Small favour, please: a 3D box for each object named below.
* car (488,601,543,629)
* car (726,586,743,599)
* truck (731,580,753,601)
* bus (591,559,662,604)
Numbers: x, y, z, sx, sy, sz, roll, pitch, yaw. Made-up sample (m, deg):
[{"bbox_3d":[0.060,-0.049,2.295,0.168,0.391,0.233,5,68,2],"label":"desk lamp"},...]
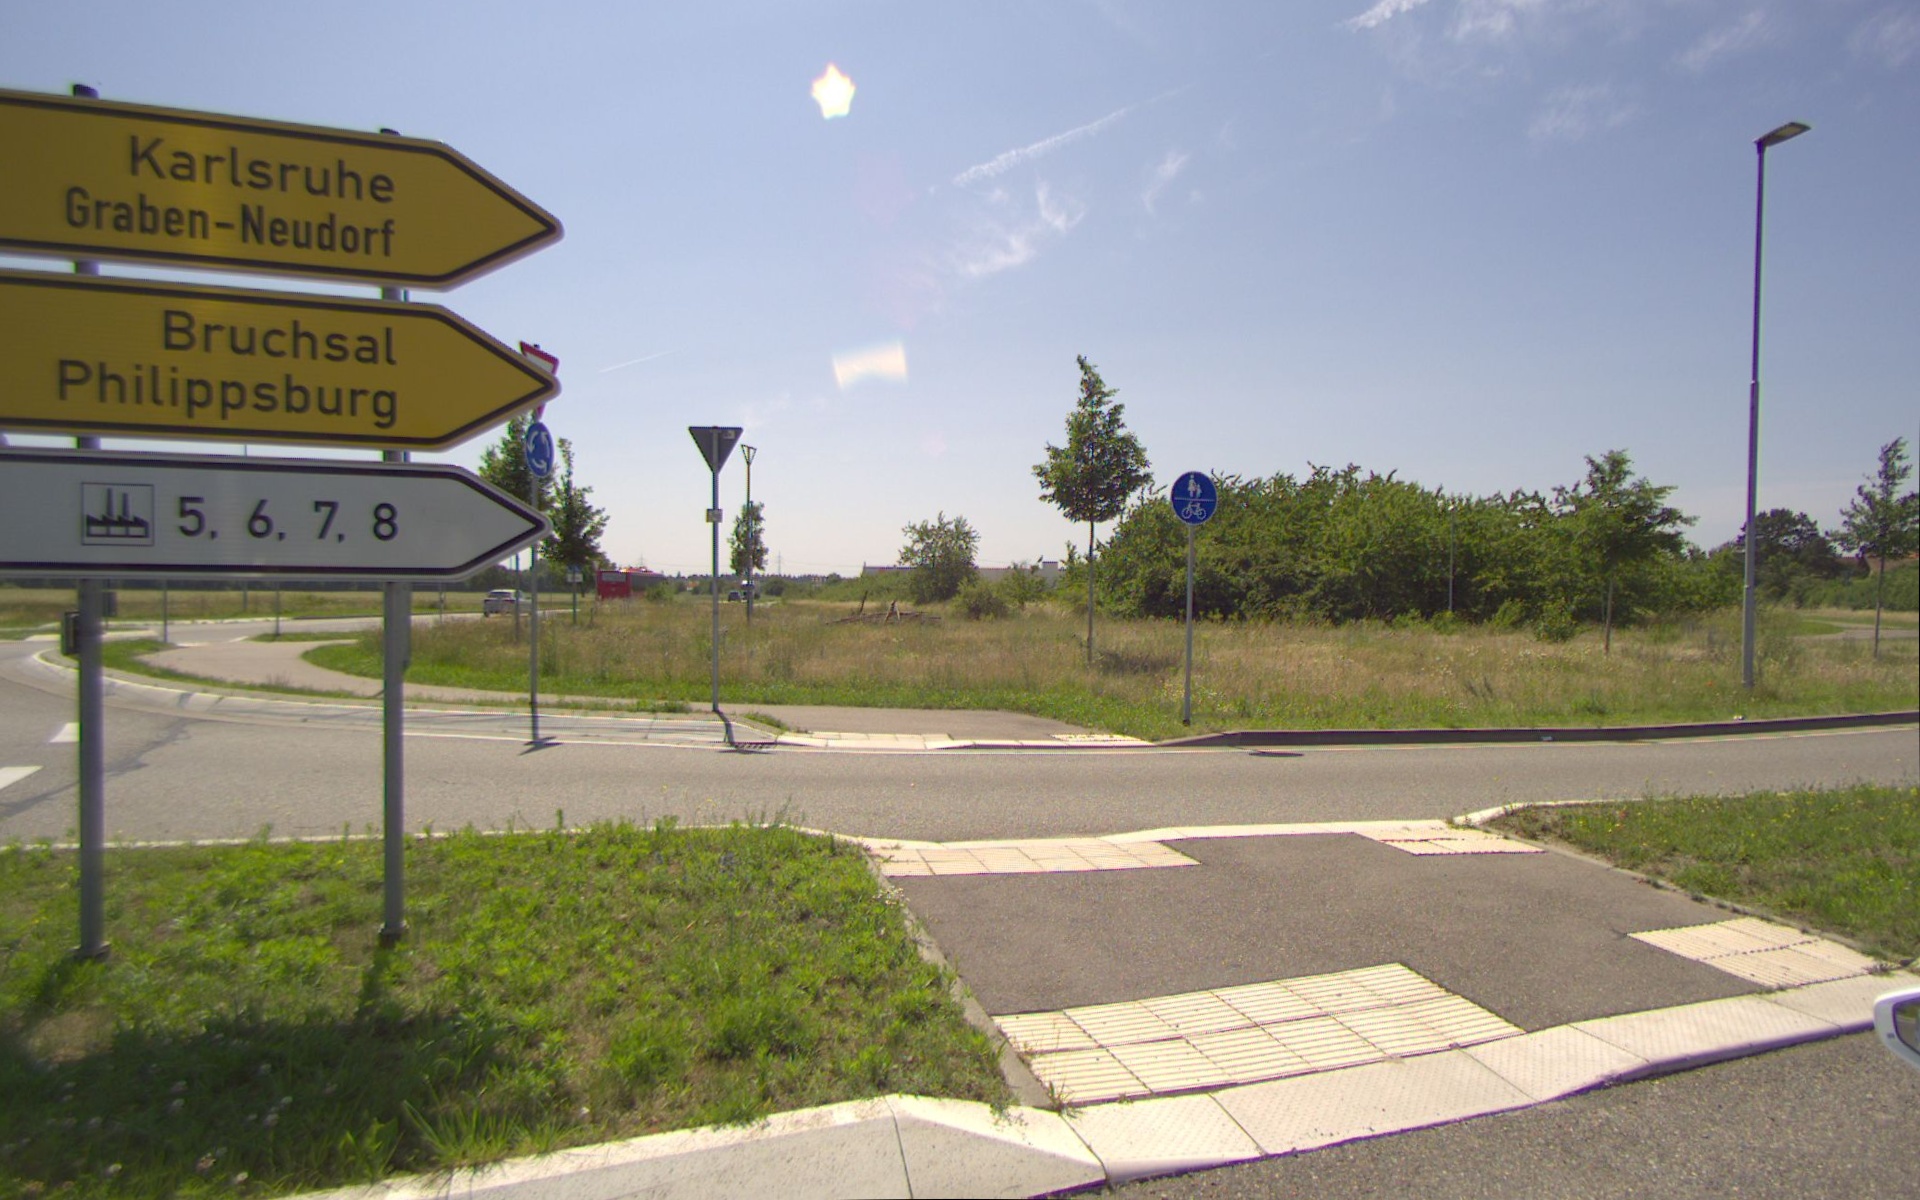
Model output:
[{"bbox_3d":[-24.048,0.787,54.430,1.696,1.483,3.598,0,0,-6],"label":"car"},{"bbox_3d":[-34.357,-1.096,153.343,1.962,1.951,3.997,0,0,-5],"label":"car"},{"bbox_3d":[-46.700,-2.002,215.590,3.215,4.395,12.046,0,0,-6],"label":"truck"},{"bbox_3d":[-26.934,-1.389,81.668,3.252,3.353,11.975,0,0,-8],"label":"bus"}]
